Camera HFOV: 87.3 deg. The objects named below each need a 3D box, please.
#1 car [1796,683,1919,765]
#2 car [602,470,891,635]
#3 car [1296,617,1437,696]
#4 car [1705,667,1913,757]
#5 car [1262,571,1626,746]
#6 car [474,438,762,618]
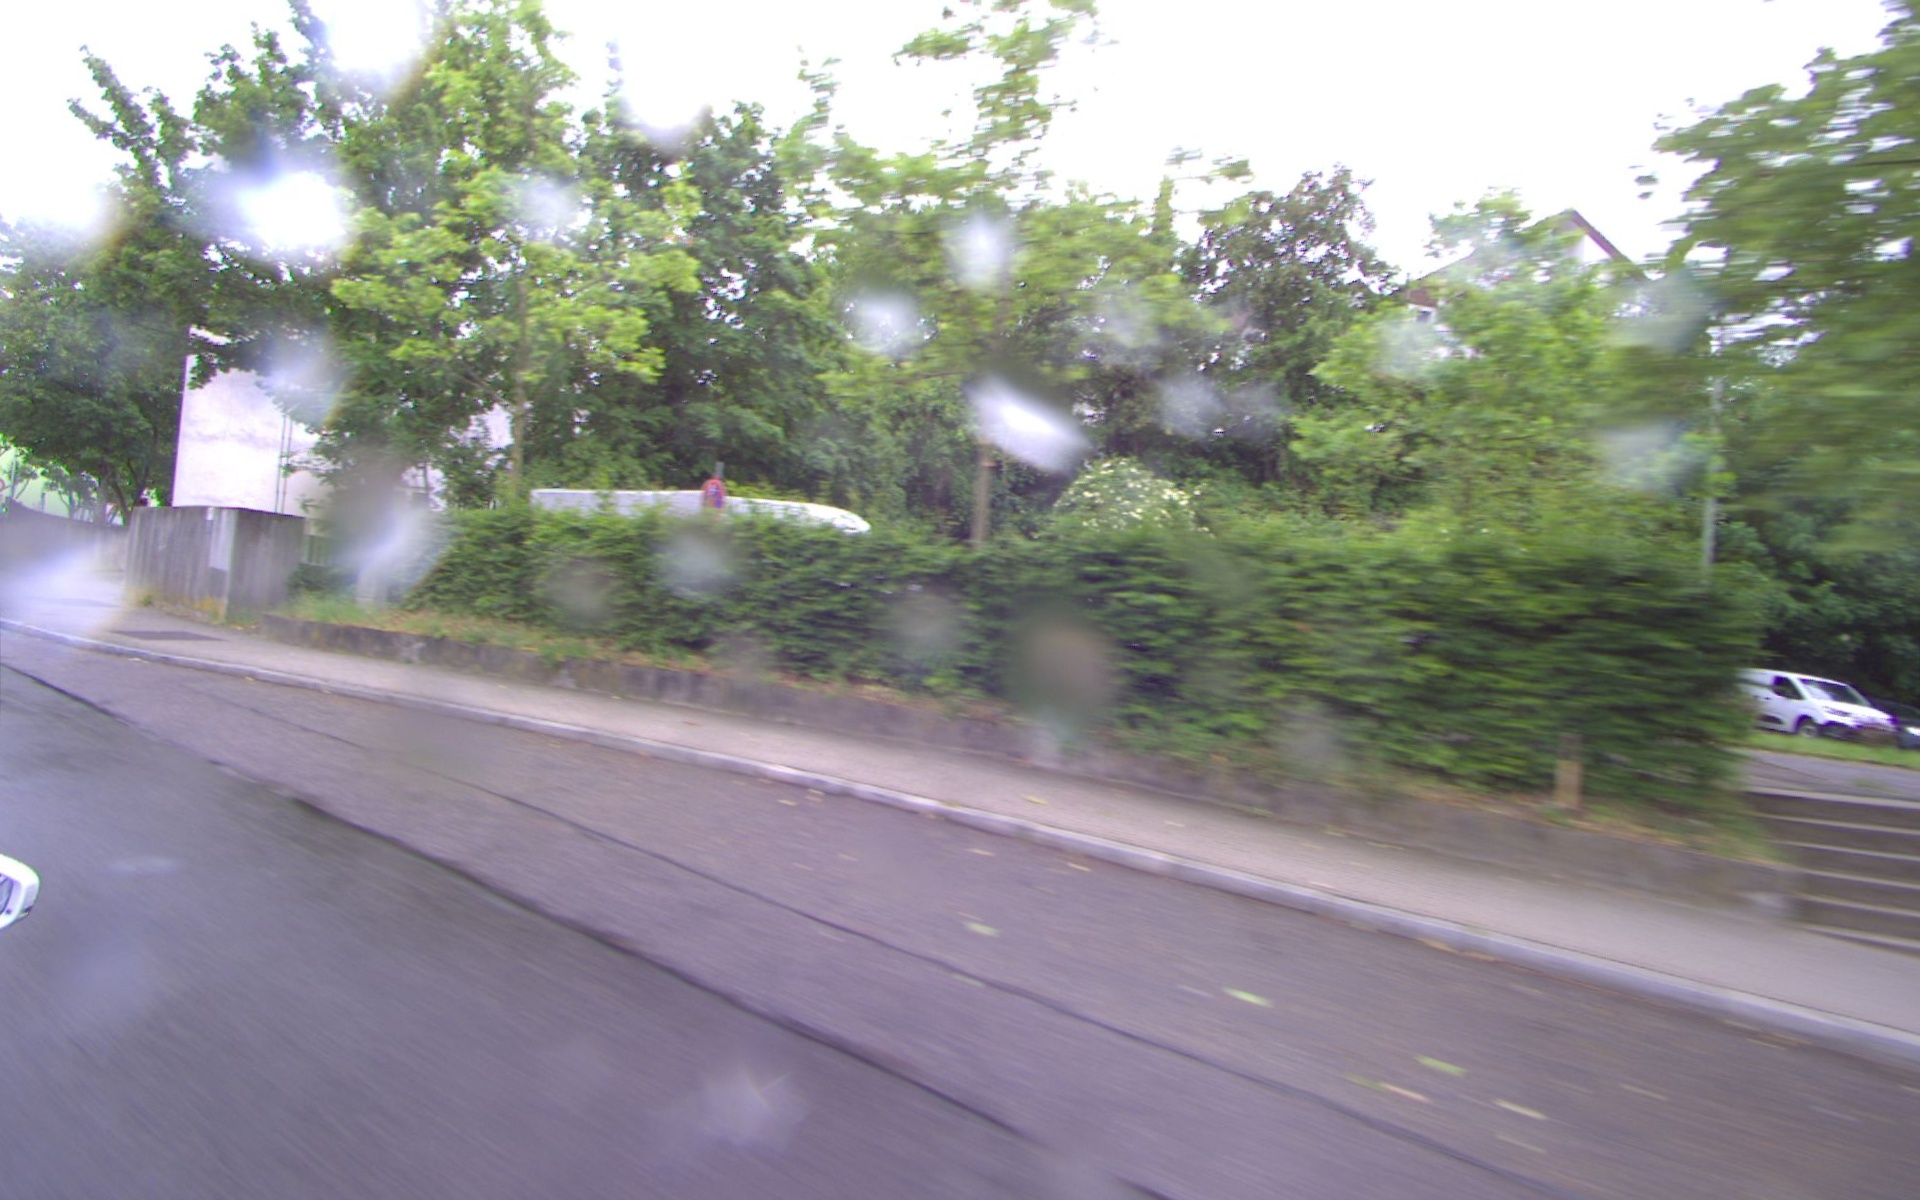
[{"bbox_3d":[24.421,3.274,26.115,1.771,1.788,4.184,10,-2,2],"label":"car"},{"bbox_3d":[-4.153,-0.931,19.562,4.926,2.310,2.052,9,-1,22],"label":"car"},{"bbox_3d":[10.827,1.487,27.137,1.772,1.683,4.182,10,-2,-1],"label":"car"},{"bbox_3d":[22.073,2.847,26.412,1.771,1.788,4.184,10,-2,2],"label":"car"},{"bbox_3d":[6.528,0.791,13.942,4.097,1.600,1.828,9,-2,26],"label":"car"},{"bbox_3d":[-5.717,-1.201,16.835,4.059,2.252,2.000,9,0,25],"label":"car"}]
